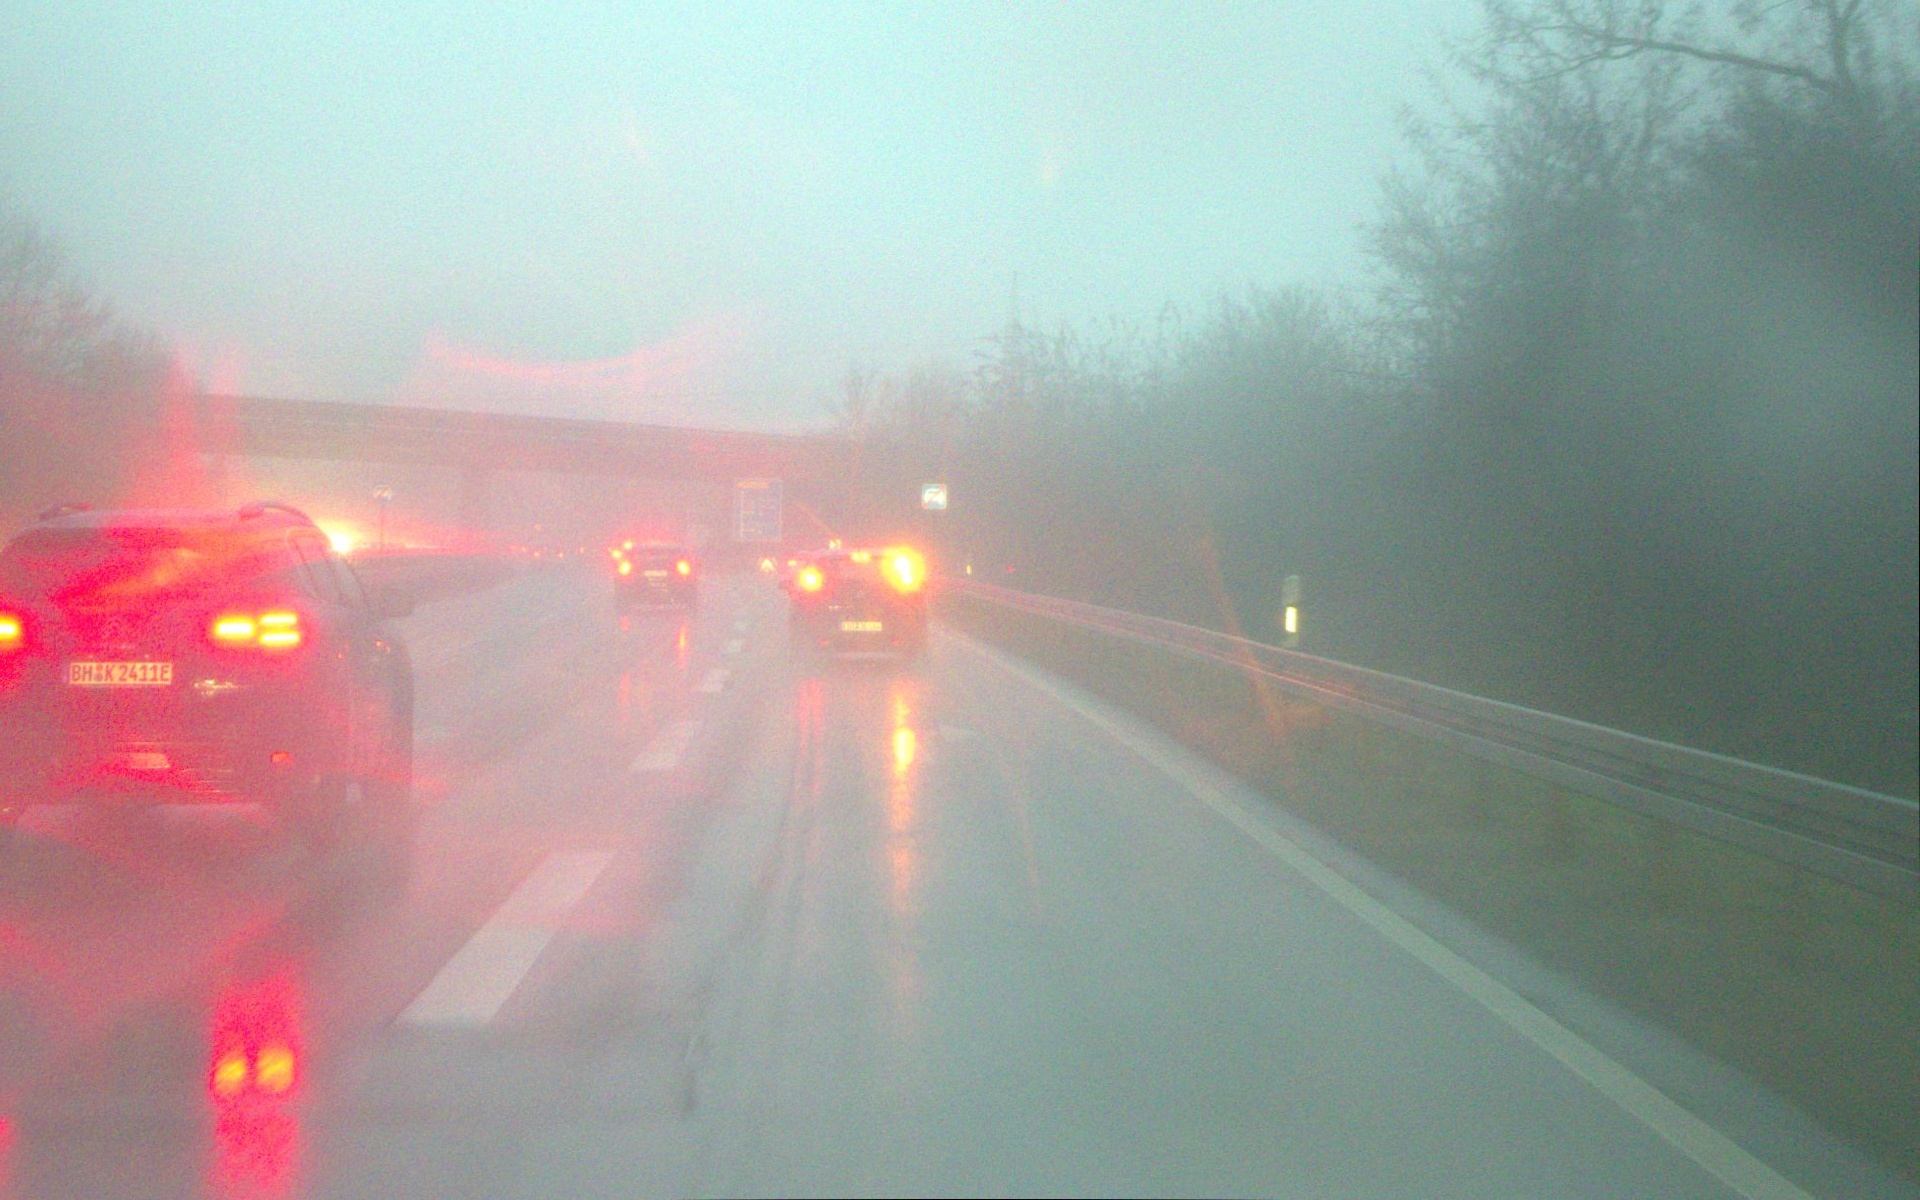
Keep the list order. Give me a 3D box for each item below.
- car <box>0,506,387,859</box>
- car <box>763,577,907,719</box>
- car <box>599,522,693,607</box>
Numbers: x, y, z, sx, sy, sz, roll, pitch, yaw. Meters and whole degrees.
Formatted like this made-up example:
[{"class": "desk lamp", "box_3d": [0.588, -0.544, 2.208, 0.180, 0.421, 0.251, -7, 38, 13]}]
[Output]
[{"class": "car", "box_3d": [-4.164, 0.349, 18.179, 1.993, 1.659, 4.001, 0, 1, -6]}, {"class": "car", "box_3d": [-1.559, 0.572, 43.936, 1.732, 1.424, 3.766, 1, 5, -1]}, {"class": "car", "box_3d": [-6.679, -0.779, 73.382, 1.878, 1.612, 3.875, 2, 2, -5]}]
